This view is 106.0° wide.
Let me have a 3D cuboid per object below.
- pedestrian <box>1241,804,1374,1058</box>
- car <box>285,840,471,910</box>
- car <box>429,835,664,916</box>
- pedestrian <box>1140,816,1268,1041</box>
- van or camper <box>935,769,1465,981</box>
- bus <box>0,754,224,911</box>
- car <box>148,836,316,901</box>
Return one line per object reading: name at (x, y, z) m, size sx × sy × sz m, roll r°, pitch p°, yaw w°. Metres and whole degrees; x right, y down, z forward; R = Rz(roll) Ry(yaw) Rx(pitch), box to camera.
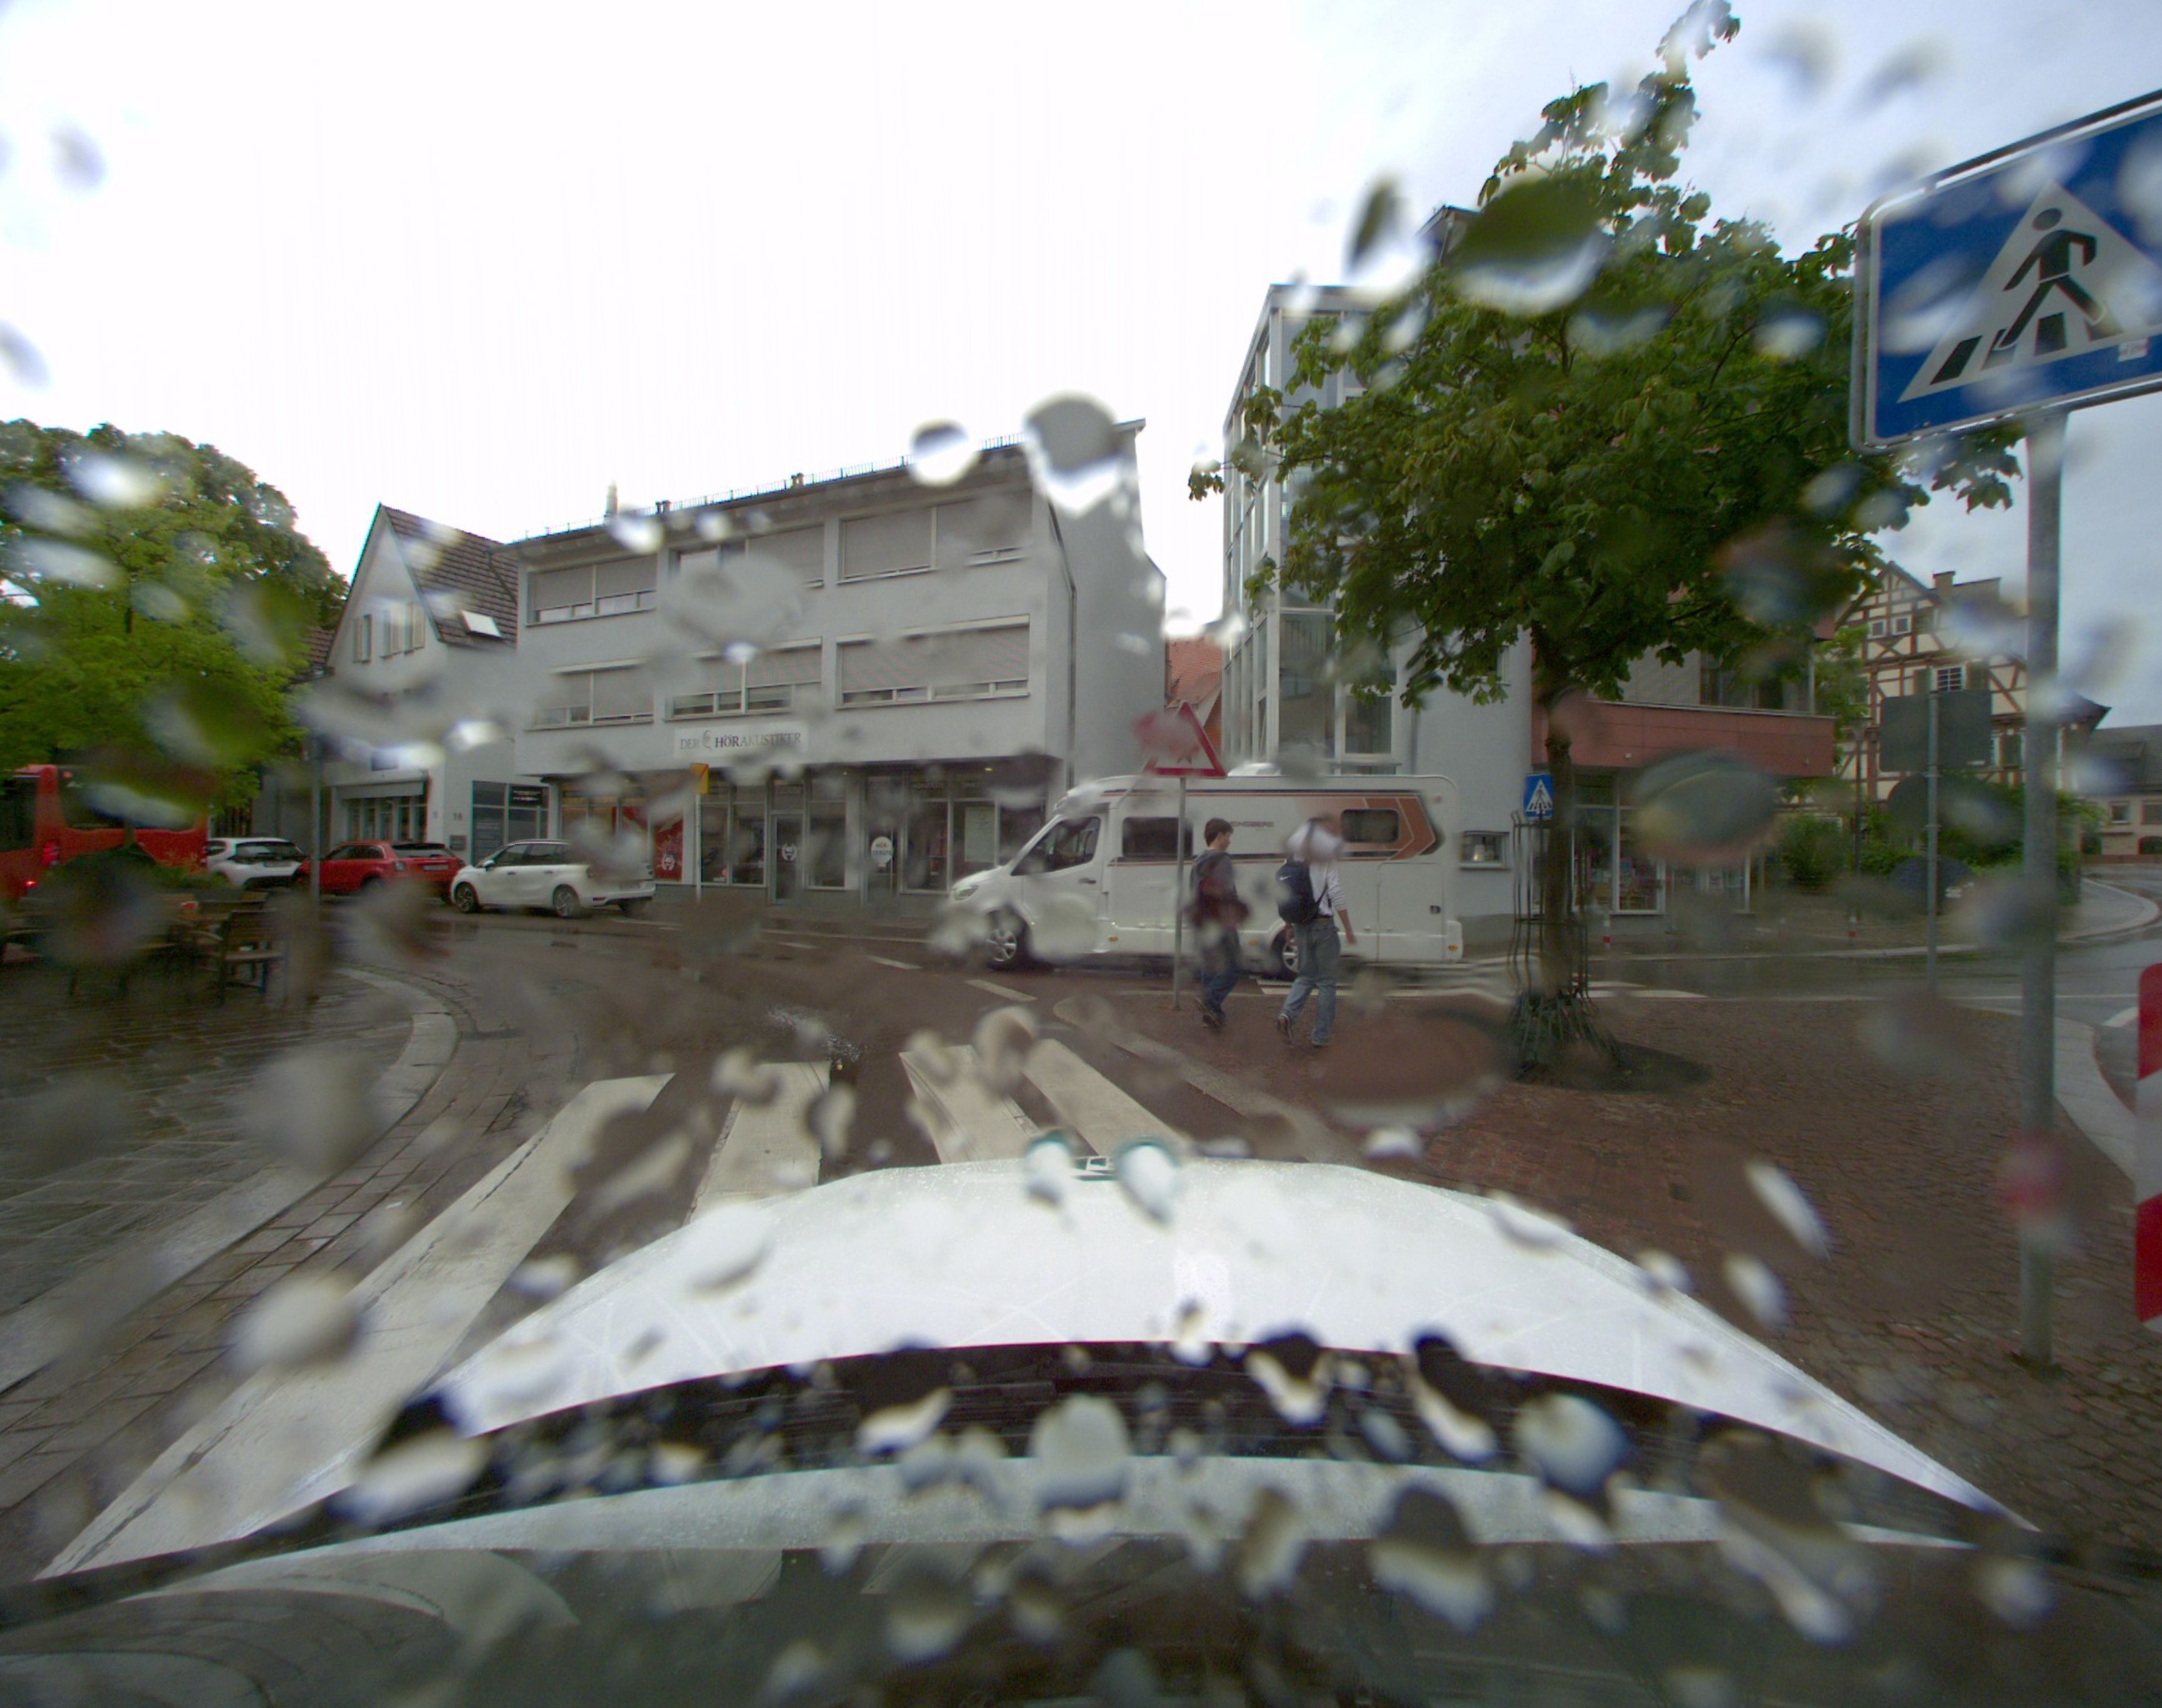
pedestrian at (1.806, 0.554, 6.413) m, size 0.657 × 1.807 × 1.068 m, roll 0°, pitch -1°, yaw 37°
car at (-16.780, 0.439, 19.453) m, size 3.756 × 1.528 × 1.691 m, roll 1°, pitch 1°, yaw 19°
car at (-11.662, 0.462, 17.827) m, size 4.421 × 1.631 × 1.789 m, roll -1°, pitch -1°, yaw 15°
pedestrian at (1.100, 0.604, 7.169) m, size 0.685 × 1.800 × 1.065 m, roll 0°, pitch -1°, yaw 37°
van or camper at (1.577, 0.237, 11.657) m, size 6.688 × 2.586 × 2.452 m, roll 1°, pitch -1°, yaw 9°
bus at (-25.204, -0.559, 18.488) m, size 10.501 × 3.088 × 2.832 m, roll 1°, pitch 1°, yaw 12°
car at (-22.235, 0.336, 21.342) m, size 3.755 × 1.528 × 1.691 m, roll 1°, pitch 1°, yaw 21°
